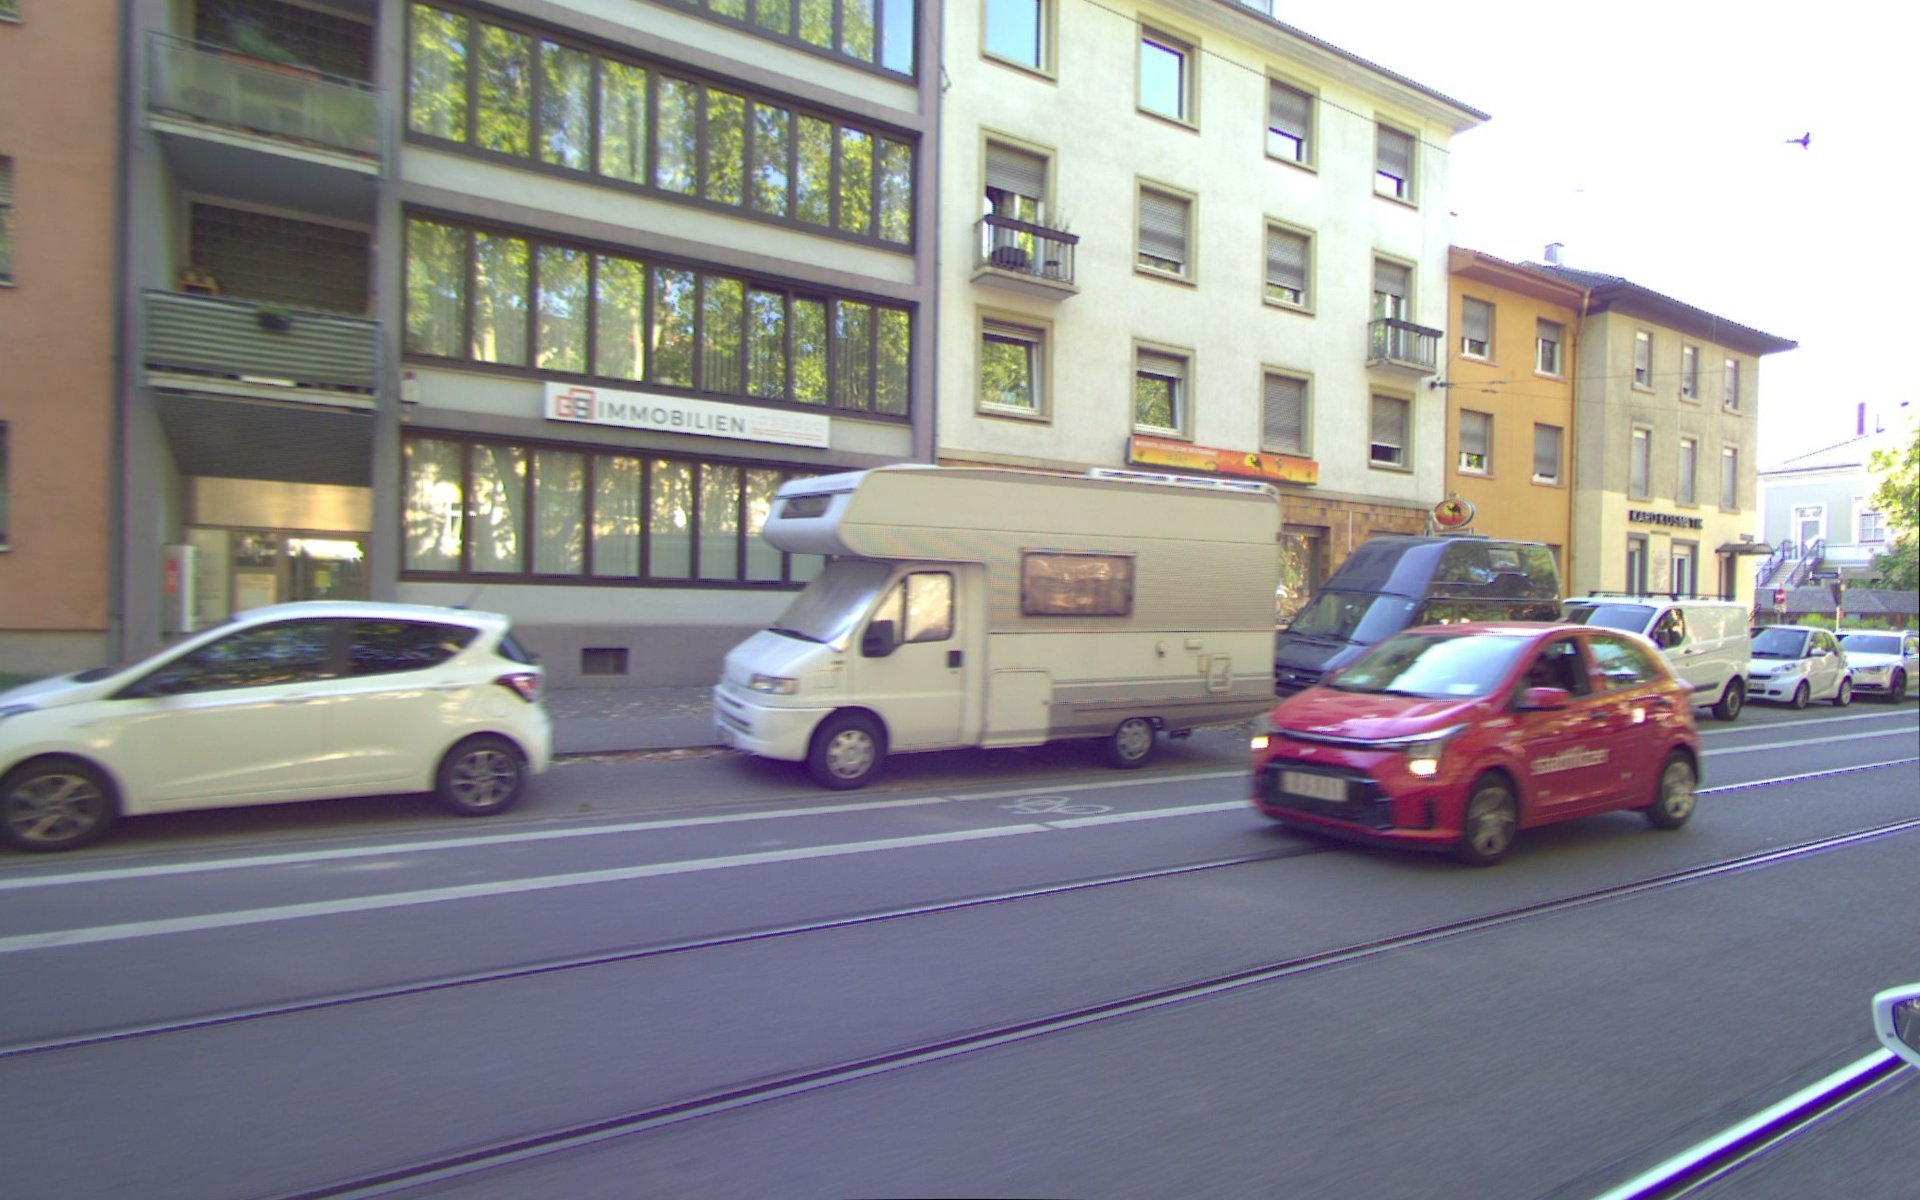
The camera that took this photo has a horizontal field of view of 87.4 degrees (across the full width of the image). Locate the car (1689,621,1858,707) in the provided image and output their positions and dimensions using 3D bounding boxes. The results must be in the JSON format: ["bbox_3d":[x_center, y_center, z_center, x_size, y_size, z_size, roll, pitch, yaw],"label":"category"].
[{"bbox_3d":[16.275,1.240,20.092,3.003,1.547,1.565,1,1,-28],"label":"car"}]

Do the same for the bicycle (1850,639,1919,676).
[{"bbox_3d":[31.345,1.901,33.090,1.043,1.120,2.924,1,-1,-39],"label":"bicycle"}]

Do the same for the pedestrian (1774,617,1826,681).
[{"bbox_3d":[21.760,1.265,26.024,0.930,1.614,0.783,1,-1,-30],"label":"pedestrian"}]

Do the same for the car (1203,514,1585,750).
[{"bbox_3d":[6.105,0.375,13.956,5.247,2.768,2.076,1,2,-30],"label":"car"}]

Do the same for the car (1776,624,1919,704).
[{"bbox_3d":[20.287,1.343,22.307,5.014,1.488,1.825,1,2,-33],"label":"car"}]

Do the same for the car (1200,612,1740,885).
[{"bbox_3d":[3.749,0.863,7.235,3.905,1.499,1.655,1,-1,-31],"label":"car"}]

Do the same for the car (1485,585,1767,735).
[{"bbox_3d":[11.316,0.887,16.952,5.191,2.120,1.941,0,3,-32],"label":"car"}]

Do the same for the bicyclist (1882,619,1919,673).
[{"bbox_3d":[31.258,1.504,33.177,1.049,1.728,1.037,1,-1,-39],"label":"bicyclist"}]

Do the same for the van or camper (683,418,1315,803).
[{"bbox_3d":[0.563,0.097,10.617,6.320,3.082,2.327,1,2,-30],"label":"van or camper"}]

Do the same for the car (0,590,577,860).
[{"bbox_3d":[-4.945,0.756,7.271,3.818,1.508,1.701,1,2,-31],"label":"car"}]
